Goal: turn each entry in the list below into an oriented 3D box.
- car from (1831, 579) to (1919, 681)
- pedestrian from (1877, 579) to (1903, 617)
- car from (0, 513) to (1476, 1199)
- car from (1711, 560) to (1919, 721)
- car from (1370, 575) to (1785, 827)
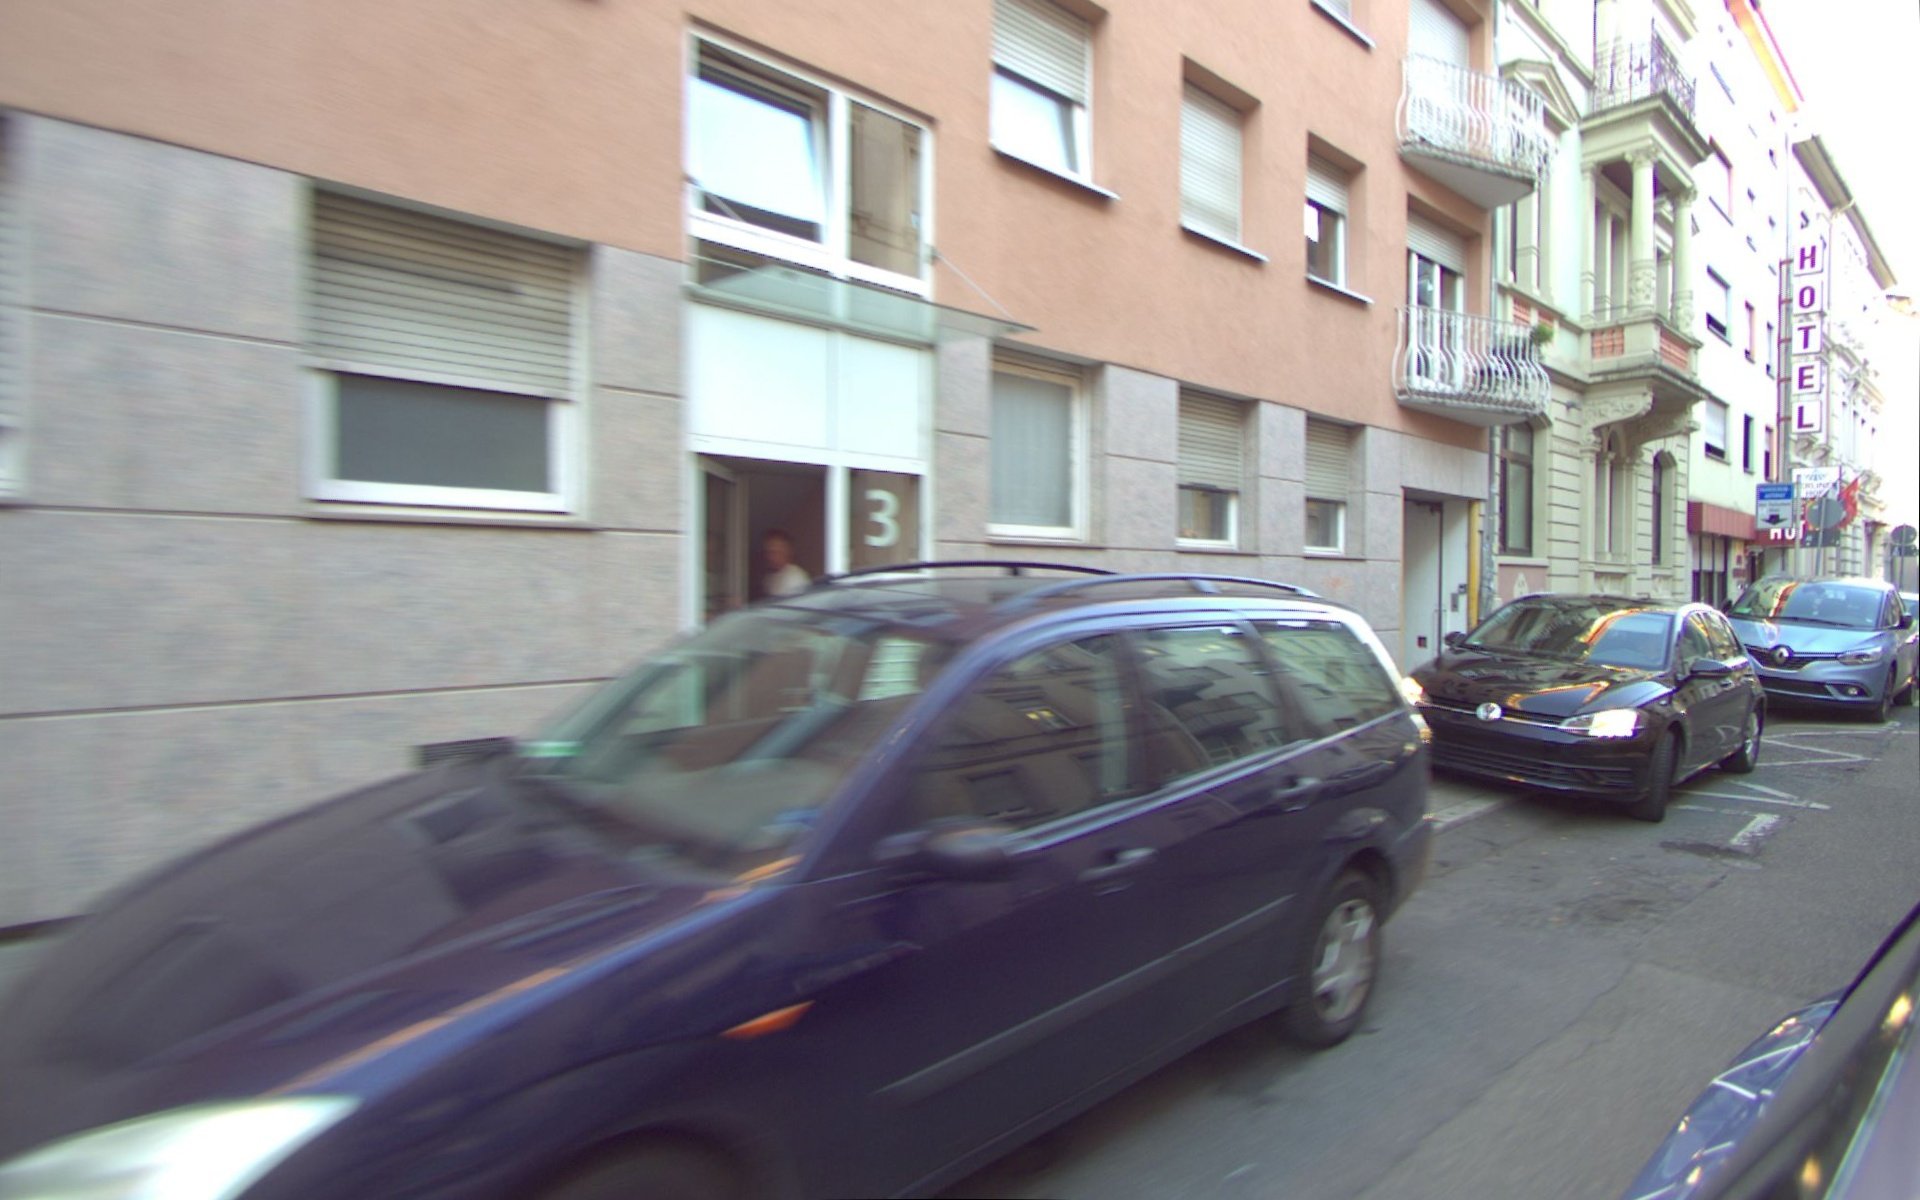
[{"bbox_3d":[16.204,0.442,17.289,3.528,1.598,1.572,-1,1,-42],"label":"car"},{"bbox_3d":[35.635,-0.085,38.784,0.475,1.441,0.696,0,1,-40],"label":"pedestrian"},{"bbox_3d":[-0.193,0.638,3.017,4.209,1.533,1.692,-1,1,-42],"label":"car"},{"bbox_3d":[11.197,0.407,13.029,4.039,1.763,1.692,-1,1,-42],"label":"car"},{"bbox_3d":[4.985,0.558,7.930,4.061,1.476,1.692,-1,1,-42],"label":"car"}]
